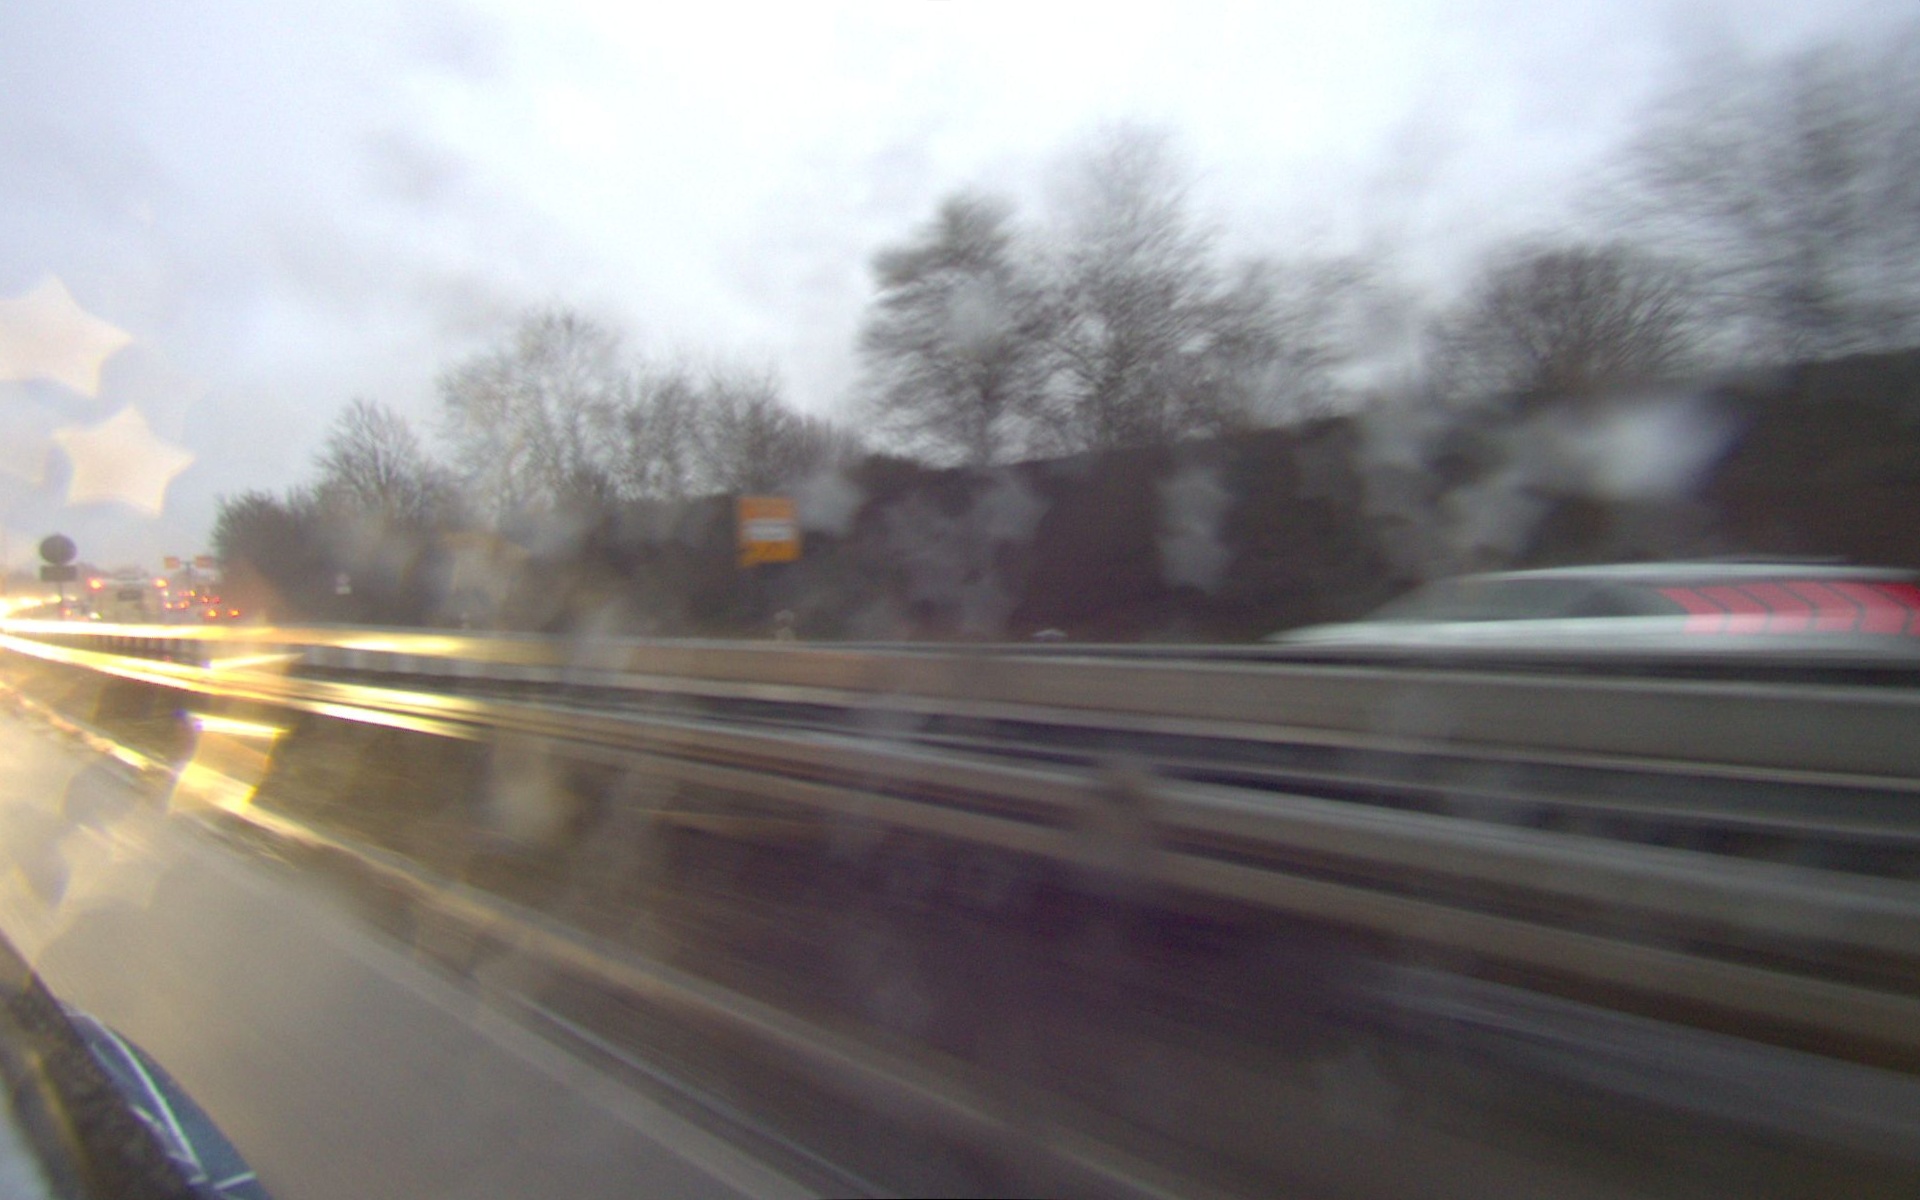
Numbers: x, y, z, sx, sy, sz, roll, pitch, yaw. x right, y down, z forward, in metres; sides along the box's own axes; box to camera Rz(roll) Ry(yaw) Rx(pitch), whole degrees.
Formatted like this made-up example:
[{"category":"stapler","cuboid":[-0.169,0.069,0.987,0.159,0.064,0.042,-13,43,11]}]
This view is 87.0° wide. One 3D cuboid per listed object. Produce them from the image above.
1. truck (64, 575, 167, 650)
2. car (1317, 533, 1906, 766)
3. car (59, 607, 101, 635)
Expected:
[{"category":"truck","cuboid":[-39.941,0.503,47.781,7.729,3.184,2.685,0,2,43]},{"category":"car","cuboid":[5.718,0.374,9.331,4.294,1.682,1.566,-1,0,41]},{"category":"car","cuboid":[-65.153,1.513,74.900,1.964,1.844,5.122,-3,2,-45]}]
